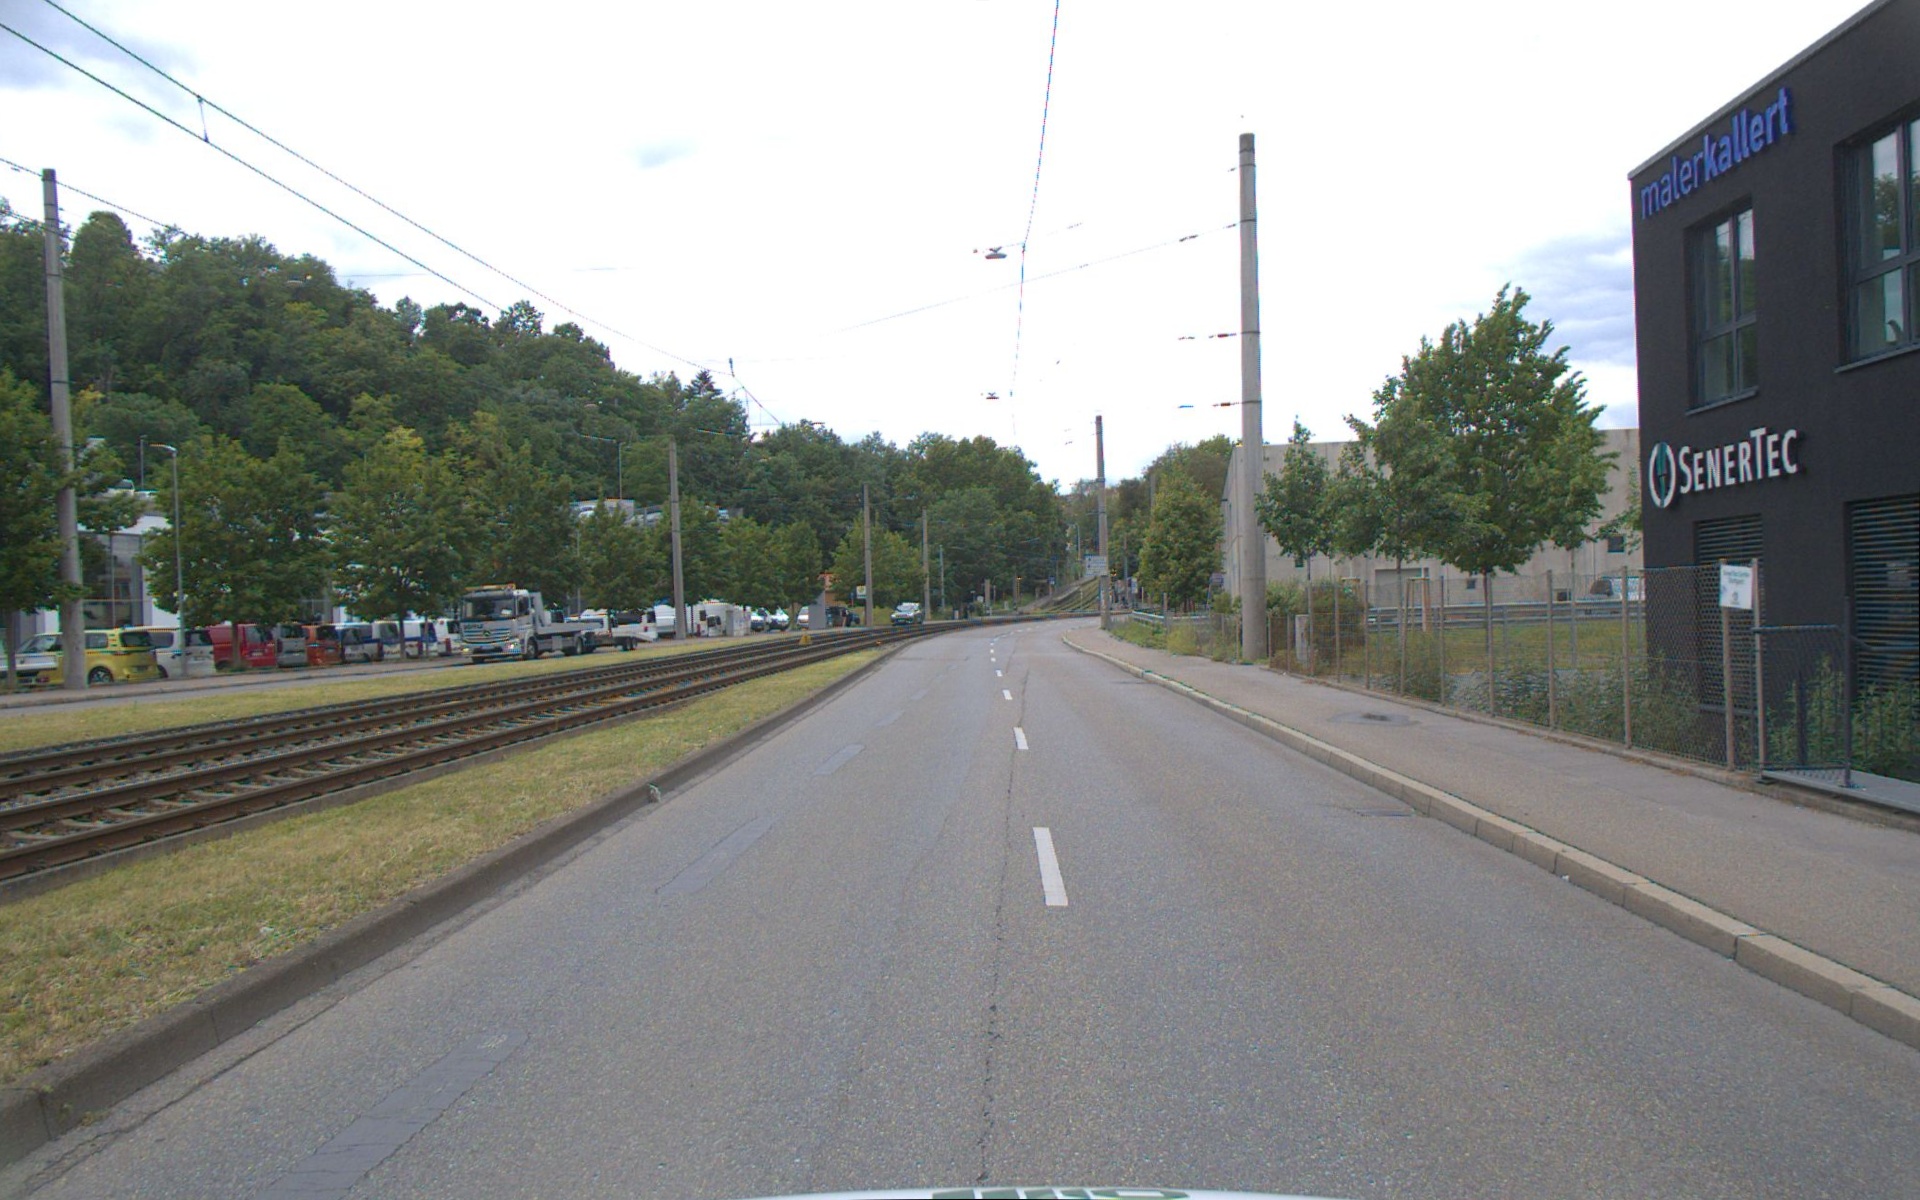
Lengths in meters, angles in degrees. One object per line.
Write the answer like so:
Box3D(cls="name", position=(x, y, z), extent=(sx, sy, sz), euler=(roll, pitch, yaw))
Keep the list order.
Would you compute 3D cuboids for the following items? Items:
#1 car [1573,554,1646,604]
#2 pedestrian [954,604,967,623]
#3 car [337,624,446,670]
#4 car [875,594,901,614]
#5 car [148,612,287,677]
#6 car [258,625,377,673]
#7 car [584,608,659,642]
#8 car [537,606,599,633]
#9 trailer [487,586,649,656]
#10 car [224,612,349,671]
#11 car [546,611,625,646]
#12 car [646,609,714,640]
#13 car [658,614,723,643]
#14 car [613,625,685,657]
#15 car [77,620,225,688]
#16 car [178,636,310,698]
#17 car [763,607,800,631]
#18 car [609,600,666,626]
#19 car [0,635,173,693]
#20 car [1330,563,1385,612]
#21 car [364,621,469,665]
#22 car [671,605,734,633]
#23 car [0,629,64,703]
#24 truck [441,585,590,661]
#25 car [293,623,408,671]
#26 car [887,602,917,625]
Box3D(cls="car", position=(24.422, -0.770, 62.306), extent=(1.789, 1.735, 4.004), euler=(-2, 0, 11))
Box3D(cls="pedestrian", position=(0.061, 1.463, 179.437), extent=(0.992, 2.049, 1.146), euler=(-3, -4, 17))
Box3D(cls="car", position=(-24.051, 1.975, 70.059), extent=(3.902, 1.735, 1.835), euler=(-2, 0, 8))
Box3D(cls="car", position=(-6.300, 0.354, 145.100), extent=(1.952, 1.668, 4.001), euler=(-2, 0, 2))
Box3D(cls="car", position=(-25.838, 1.573, 57.653), extent=(3.903, 2.049, 2.001), euler=(-2, -4, 4))
Box3D(cls="car", position=(-25.297, 1.912, 65.162), extent=(3.902, 1.736, 1.835), euler=(-2, -1, 8))
Box3D(cls="car", position=(-19.739, 1.482, 96.557), extent=(3.902, 1.736, 1.835), euler=(-2, -4, 8))
Box3D(cls="car", position=(-27.936, 1.368, 118.029), extent=(4.050, 1.736, 1.831), euler=(-1, -4, -7))
Box3D(cls="trailer", position=(-15.873, 0.781, 67.982), extent=(2.830, 2.628, 10.003), euler=(-2, 0, 9))
Box3D(cls="car", position=(-25.618, 1.598, 62.956), extent=(3.903, 2.049, 2.001), euler=(-2, -4, 4))
Box3D(cls="car", position=(-21.033, 1.592, 92.905), extent=(3.902, 1.736, 1.835), euler=(-2, -4, 8))
Box3D(cls="car", position=(-18.088, 1.601, 106.945), extent=(3.902, 1.736, 1.835), euler=(-2, -4, 8))
Box3D(cls="car", position=(-18.024, 1.908, 110.583), extent=(3.902, 1.736, 1.835), euler=(-2, -4, 8))
Box3D(cls="car", position=(-19.130, 2.529, 101.840), extent=(3.902, 1.735, 1.835), euler=(-2, 1, 8))
Box3D(cls="car", position=(-26.580, 1.789, 54.421), extent=(3.903, 2.049, 2.001), euler=(-2, -4, 4))
Box3D(cls="car", position=(-25.953, 2.450, 60.043), extent=(3.903, 2.049, 2.001), euler=(-2, -4, 4))
Box3D(cls="car", position=(-14.801, 1.556, 137.125), extent=(1.789, 1.736, 4.145), euler=(-2, -4, 12))
Box3D(cls="car", position=(-24.196, 1.001, 124.214), extent=(4.050, 1.736, 1.831), euler=(-1, -4, -7))
Box3D(cls="car", position=(-27.239, 2.014, 51.521), extent=(4.499, 1.602, 2.000), euler=(-2, -4, 3))
Box3D(cls="car", position=(15.251, -0.472, 63.608), extent=(1.789, 1.735, 3.809), euler=(-2, 0, 11))
Box3D(cls="car", position=(-23.809, 1.889, 72.570), extent=(3.902, 1.735, 1.835), euler=(-2, 0, 8))
Box3D(cls="car", position=(-17.830, 1.341, 114.517), extent=(3.902, 1.736, 1.835), euler=(-2, -4, 8))
Box3D(cls="car", position=(-27.258, 1.897, 45.806), extent=(4.503, 1.932, 1.999), euler=(-3, -4, 24))
Box3D(cls="truck", position=(-16.700, 0.808, 62.654), extent=(2.821, 2.634, 6.917), euler=(-2, 0, 9))
Box3D(cls="car", position=(-24.805, 1.906, 67.345), extent=(3.902, 1.735, 1.835), euler=(-2, 1, 8))
Box3D(cls="car", position=(-4.357, 0.995, 125.613), extent=(1.952, 1.668, 4.001), euler=(-2, 0, 2))
